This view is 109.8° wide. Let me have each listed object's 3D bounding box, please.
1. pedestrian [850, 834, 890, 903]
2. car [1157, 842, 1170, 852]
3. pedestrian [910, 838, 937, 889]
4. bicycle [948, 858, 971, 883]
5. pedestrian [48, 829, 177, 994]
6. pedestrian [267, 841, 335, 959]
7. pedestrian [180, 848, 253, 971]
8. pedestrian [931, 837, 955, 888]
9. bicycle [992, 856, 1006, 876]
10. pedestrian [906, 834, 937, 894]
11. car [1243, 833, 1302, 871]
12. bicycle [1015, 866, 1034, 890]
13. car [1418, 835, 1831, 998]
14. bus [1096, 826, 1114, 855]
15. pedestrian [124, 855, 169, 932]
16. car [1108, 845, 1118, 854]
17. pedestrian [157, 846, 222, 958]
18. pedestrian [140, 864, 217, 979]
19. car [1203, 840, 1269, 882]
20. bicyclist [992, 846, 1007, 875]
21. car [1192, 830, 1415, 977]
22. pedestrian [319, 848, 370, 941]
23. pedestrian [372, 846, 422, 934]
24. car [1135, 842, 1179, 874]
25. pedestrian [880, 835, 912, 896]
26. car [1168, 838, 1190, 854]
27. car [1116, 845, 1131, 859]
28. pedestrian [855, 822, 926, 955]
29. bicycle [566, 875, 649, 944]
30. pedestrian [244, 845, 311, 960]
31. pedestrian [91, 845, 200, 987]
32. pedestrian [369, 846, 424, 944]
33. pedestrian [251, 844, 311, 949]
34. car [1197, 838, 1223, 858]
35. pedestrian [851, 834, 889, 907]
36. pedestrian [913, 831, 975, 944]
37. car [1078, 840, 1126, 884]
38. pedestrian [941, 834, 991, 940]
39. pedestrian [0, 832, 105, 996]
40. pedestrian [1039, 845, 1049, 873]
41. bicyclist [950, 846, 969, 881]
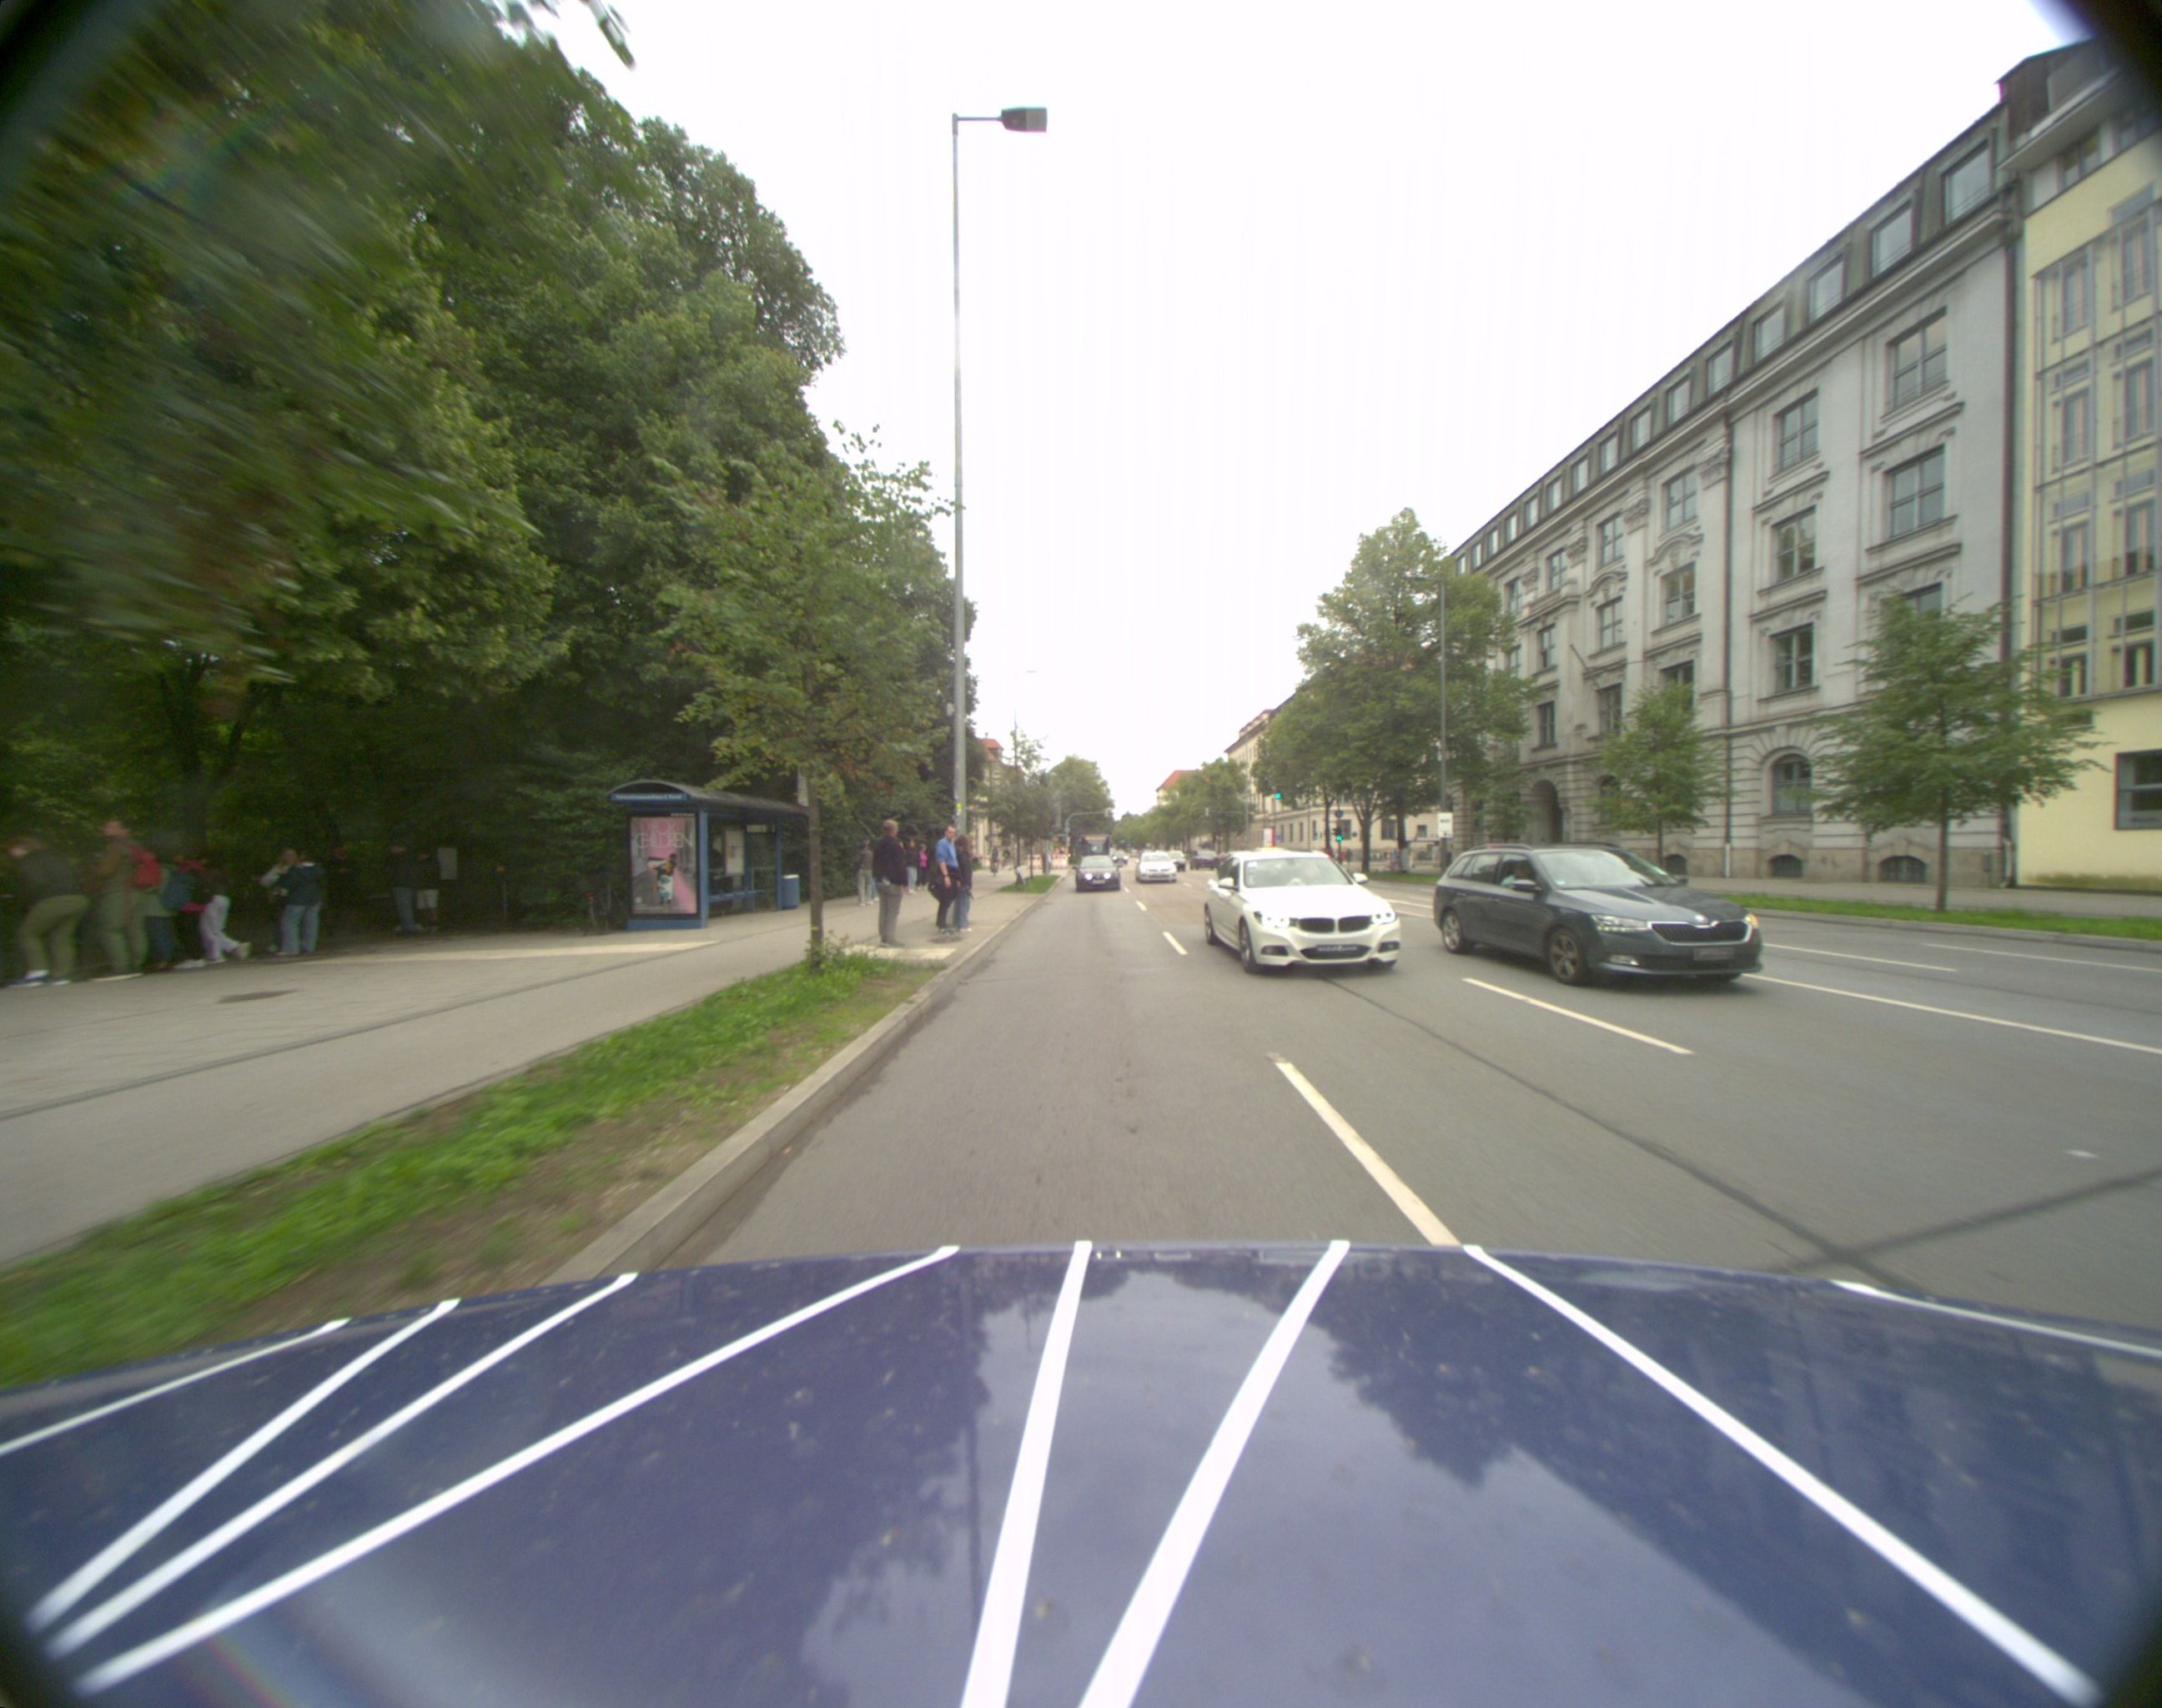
[{"bbox_3d":[-5.704,0.376,20.582,0.710,1.798,0.950,-2,1,1],"label":"pedestrian"},{"bbox_3d":[13.925,-1.162,128.128,1.748,1.587,4.000,1,1,1],"label":"car"},{"bbox_3d":[-5.733,0.343,27.718,0.753,1.828,0.756,-2,2,2],"label":"pedestrian"},{"bbox_3d":[-5.503,0.734,34.525,0.676,1.025,2.012,-2,1,1],"label":"bicycle"},{"bbox_3d":[-10.685,0.616,8.400,0.637,1.758,0.533,-2,2,4],"label":"pedestrian"},{"bbox_3d":[-12.051,0.690,11.741,0.636,1.758,0.534,-1,2,33],"label":"pedestrian"},{"bbox_3d":[-12.180,0.770,10.710,0.421,1.694,0.442,-2,2,4],"label":"pedestrian"},{"bbox_3d":[-5.025,0.292,27.689,0.672,1.828,0.641,-2,2,2],"label":"pedestrian"},{"bbox_3d":[-4.741,0.684,44.017,0.740,1.052,2.161,-2,1,-7],"label":"bicycle"},{"bbox_3d":[-5.152,0.306,24.641,0.710,1.904,0.956,-2,2,1],"label":"pedestrian"},{"bbox_3d":[9.530,-0.117,38.134,1.861,1.738,4.629,1,1,2],"label":"car"},{"bbox_3d":[-2.080,0.871,28.243,0.494,0.789,1.889,-2,1,2],"label":"bicycle"},{"bbox_3d":[5.759,0.506,8.878,1.797,1.439,4.274,0,1,1],"label":"car"},{"bbox_3d":[2.216,-1.262,71.024,1.638,2.570,6.701,0,1,1],"label":"bus"},{"bbox_3d":[-22.007,0.909,17.891,0.636,1.758,0.534,-1,2,33],"label":"pedestrian"},{"bbox_3d":[5.459,-0.837,130.467,1.638,1.562,3.945,0,1,1],"label":"car"},{"bbox_3d":[-14.569,0.761,12.419,0.636,1.758,0.534,-1,2,33],"label":"pedestrian"},{"bbox_3d":[-12.177,0.893,10.262,0.421,1.499,0.442,-2,2,4],"label":"pedestrian"},{"bbox_3d":[5.933,0.207,29.497,1.695,1.508,4.338,0,1,0],"label":"car"},{"bbox_3d":[-4.722,0.373,43.956,0.759,1.657,0.898,-2,2,-8],"label":"bicyclist"},{"bbox_3d":[2.839,0.492,10.947,1.797,1.627,5.025,0,1,1],"label":"car"},{"bbox_3d":[-14.425,0.785,14.878,0.636,1.757,0.534,-1,-2,33],"label":"pedestrian"},{"bbox_3d":[-14.002,0.719,15.566,0.636,1.758,0.534,-1,2,33],"label":"pedestrian"},{"bbox_3d":[3.644,0.159,37.003,1.797,1.439,4.274,0,1,1],"label":"car"},{"bbox_3d":[-5.897,0.356,24.284,0.710,1.904,0.956,-2,2,1],"label":"pedestrian"},{"bbox_3d":[10.081,-0.753,78.124,1.832,1.533,4.824,0,-1,2],"label":"car"},{"bbox_3d":[4.940,-0.234,89.414,1.638,1.562,3.945,0,1,1],"label":"car"},{"bbox_3d":[-2.778,0.482,11.079,0.803,1.870,0.545,-1,2,37],"label":"pedestrian"},{"bbox_3d":[-8.263,0.935,13.323,0.394,1.054,1.576,-2,1,1],"label":"bicycle"},{"bbox_3d":[-12.686,0.745,11.999,0.636,1.758,0.534,-1,2,33],"label":"pedestrian"},{"bbox_3d":[-11.976,0.777,9.742,0.637,1.758,0.533,-2,2,4],"label":"pedestrian"},{"bbox_3d":[-12.751,0.751,14.155,0.636,1.758,0.534,-1,2,33],"label":"pedestrian"},{"bbox_3d":[-13.833,0.724,13.139,0.636,1.758,0.534,-1,2,33],"label":"pedestrian"},{"bbox_3d":[9.790,-0.446,57.942,1.770,1.415,4.749,1,1,8],"label":"car"},{"bbox_3d":[-5.399,0.410,19.461,0.710,1.798,0.639,-2,2,1],"label":"pedestrian"},{"bbox_3d":[-2.263,0.532,12.580,0.637,1.798,0.711,-1,2,37],"label":"pedestrian"},{"bbox_3d":[0.837,0.276,31.378,1.797,1.627,4.274,0,1,1],"label":"car"},{"bbox_3d":[-1.999,0.557,13.273,0.710,1.798,0.639,-2,2,1],"label":"pedestrian"},{"bbox_3d":[-10.722,0.594,7.795,0.637,1.617,0.533,-2,2,4],"label":"pedestrian"},{"bbox_3d":[-2.354,0.294,47.910,0.610,1.751,0.635,1,2,-4],"label":"pedestrian"},{"bbox_3d":[-5.538,0.411,34.619,0.710,1.553,0.639,-2,2,1],"label":"bicyclist"}]
